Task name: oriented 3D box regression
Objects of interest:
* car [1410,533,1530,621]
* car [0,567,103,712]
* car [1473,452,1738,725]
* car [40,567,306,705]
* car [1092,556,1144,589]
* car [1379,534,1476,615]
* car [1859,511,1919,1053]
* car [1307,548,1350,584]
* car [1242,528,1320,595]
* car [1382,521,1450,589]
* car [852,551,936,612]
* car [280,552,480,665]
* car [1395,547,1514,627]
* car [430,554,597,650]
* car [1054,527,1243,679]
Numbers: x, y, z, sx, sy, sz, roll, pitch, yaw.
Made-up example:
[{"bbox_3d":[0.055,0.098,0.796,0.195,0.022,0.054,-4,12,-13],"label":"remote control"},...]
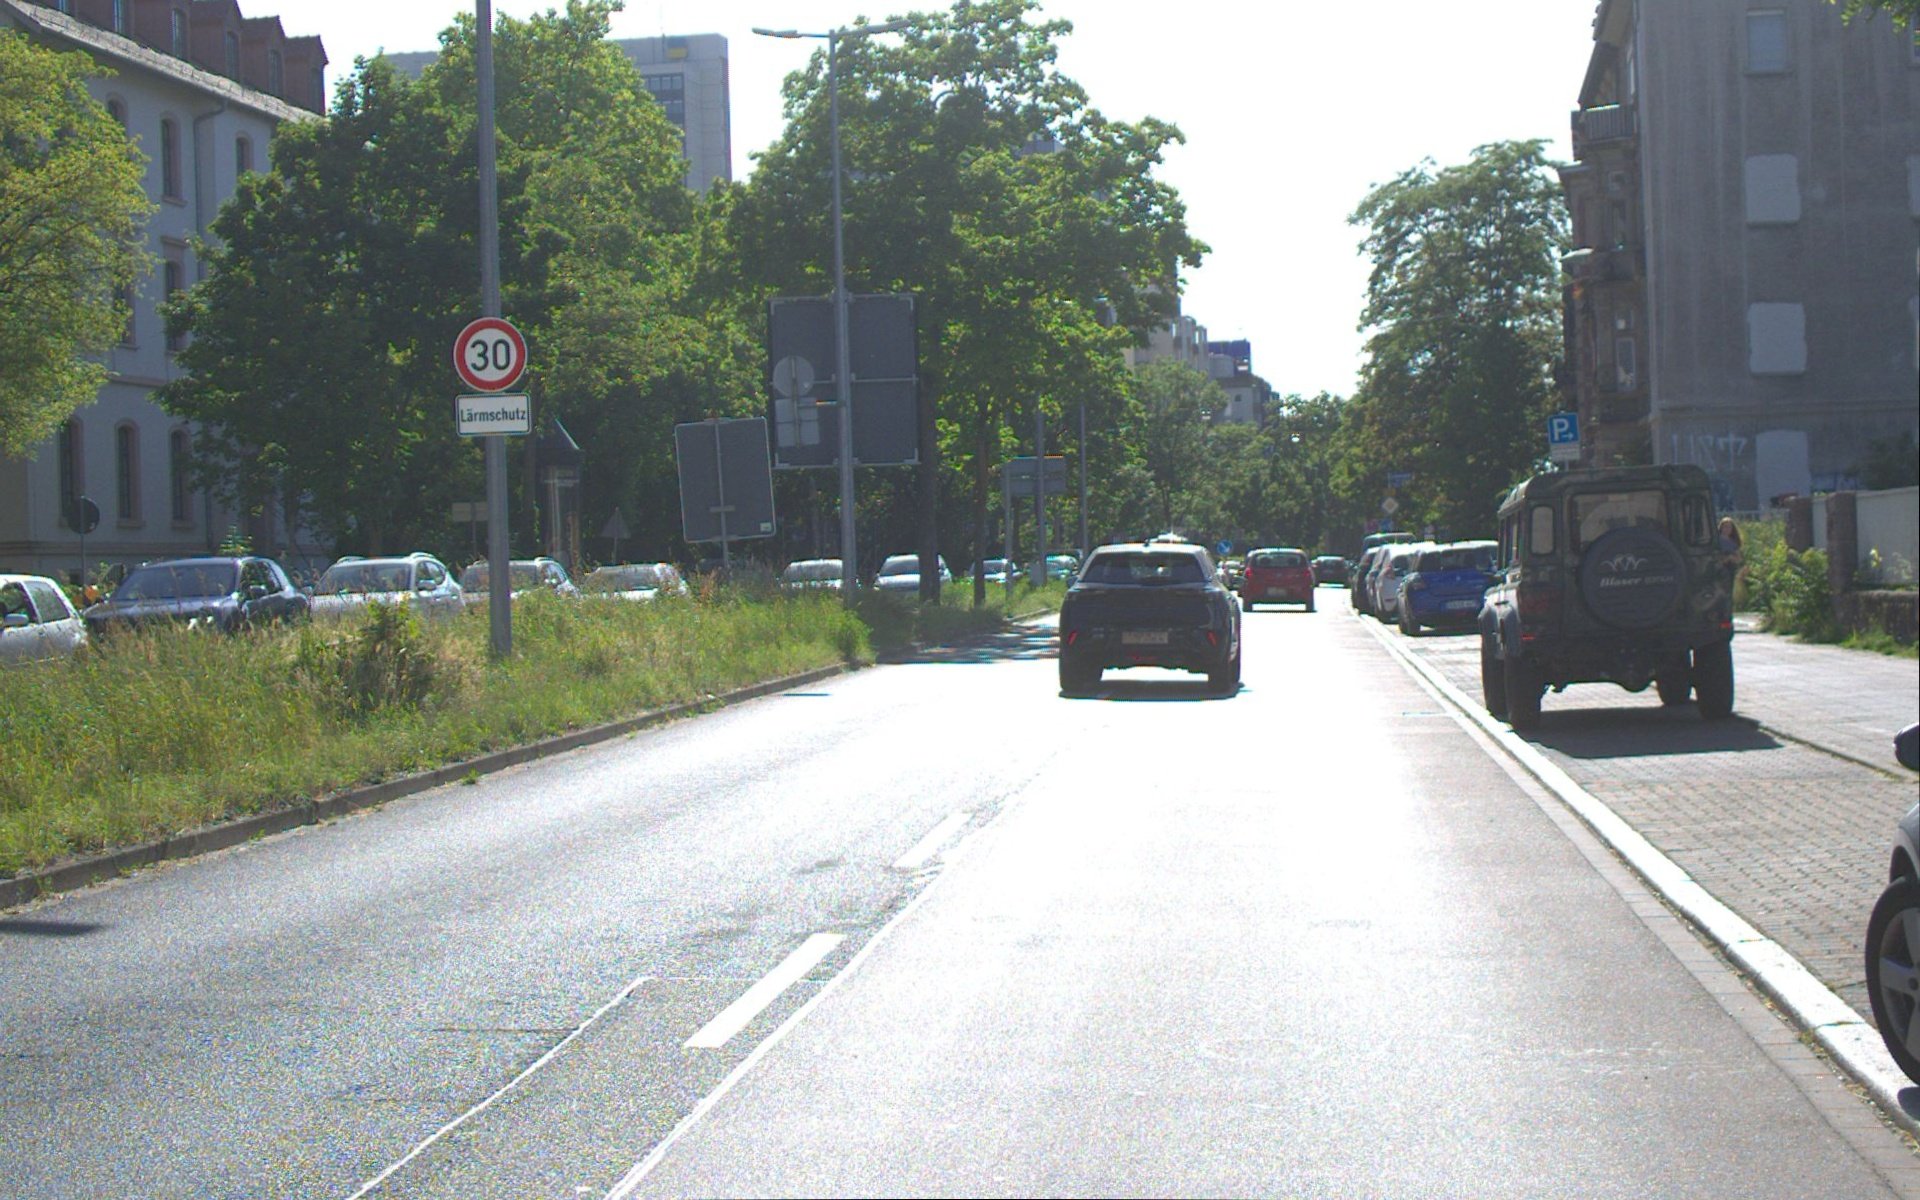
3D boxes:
[{"bbox_3d":[9.413,-0.447,63.708,1.668,1.455,3.986,-5,1,2],"label":"car"},{"bbox_3d":[-9.810,0.378,32.964,1.796,1.347,4.258,-1,1,5],"label":"car"},{"bbox_3d":[5.262,-0.100,28.535,1.660,2.007,4.775,-2,0,5],"label":"car"},{"bbox_3d":[-9.259,0.384,40.823,1.796,1.514,4.444,-1,0,5],"label":"car"},{"bbox_3d":[7.509,-1.304,163.380,1.759,1.514,3.857,-1,1,13],"label":"car"},{"bbox_3d":[9.292,-0.523,68.533,1.608,1.441,3.658,-5,1,5],"label":"car"},{"bbox_3d":[3.260,0.534,7.910,1.638,1.443,4.155,-2,2,6],"label":"car"},{"bbox_3d":[17.555,-1.626,163.787,1.921,1.634,3.999,-2,1,7],"label":"car"},{"bbox_3d":[7.631,-0.930,81.793,1.792,1.515,3.848,0,2,5],"label":"car"},{"bbox_3d":[13.037,-1.295,98.132,1.819,1.837,4.363,-2,1,8],"label":"car"},{"bbox_3d":[-1.859,-0.547,98.719,1.901,1.620,4.536,-2,0,5],"label":"car"},{"bbox_3d":[-8.234,0.098,49.134,1.796,1.514,4.258,-1,1,5],"label":"car"},{"bbox_3d":[8.460,-0.251,59.044,1.668,1.178,3.900,-5,1,4],"label":"car"},{"bbox_3d":[-7.287,0.060,56.460,1.796,1.514,4.257,0,-1,6],"label":"car"},{"bbox_3d":[2.016,0.002,36.840,1.895,1.514,4.000,1,1,3],"label":"car"}]
